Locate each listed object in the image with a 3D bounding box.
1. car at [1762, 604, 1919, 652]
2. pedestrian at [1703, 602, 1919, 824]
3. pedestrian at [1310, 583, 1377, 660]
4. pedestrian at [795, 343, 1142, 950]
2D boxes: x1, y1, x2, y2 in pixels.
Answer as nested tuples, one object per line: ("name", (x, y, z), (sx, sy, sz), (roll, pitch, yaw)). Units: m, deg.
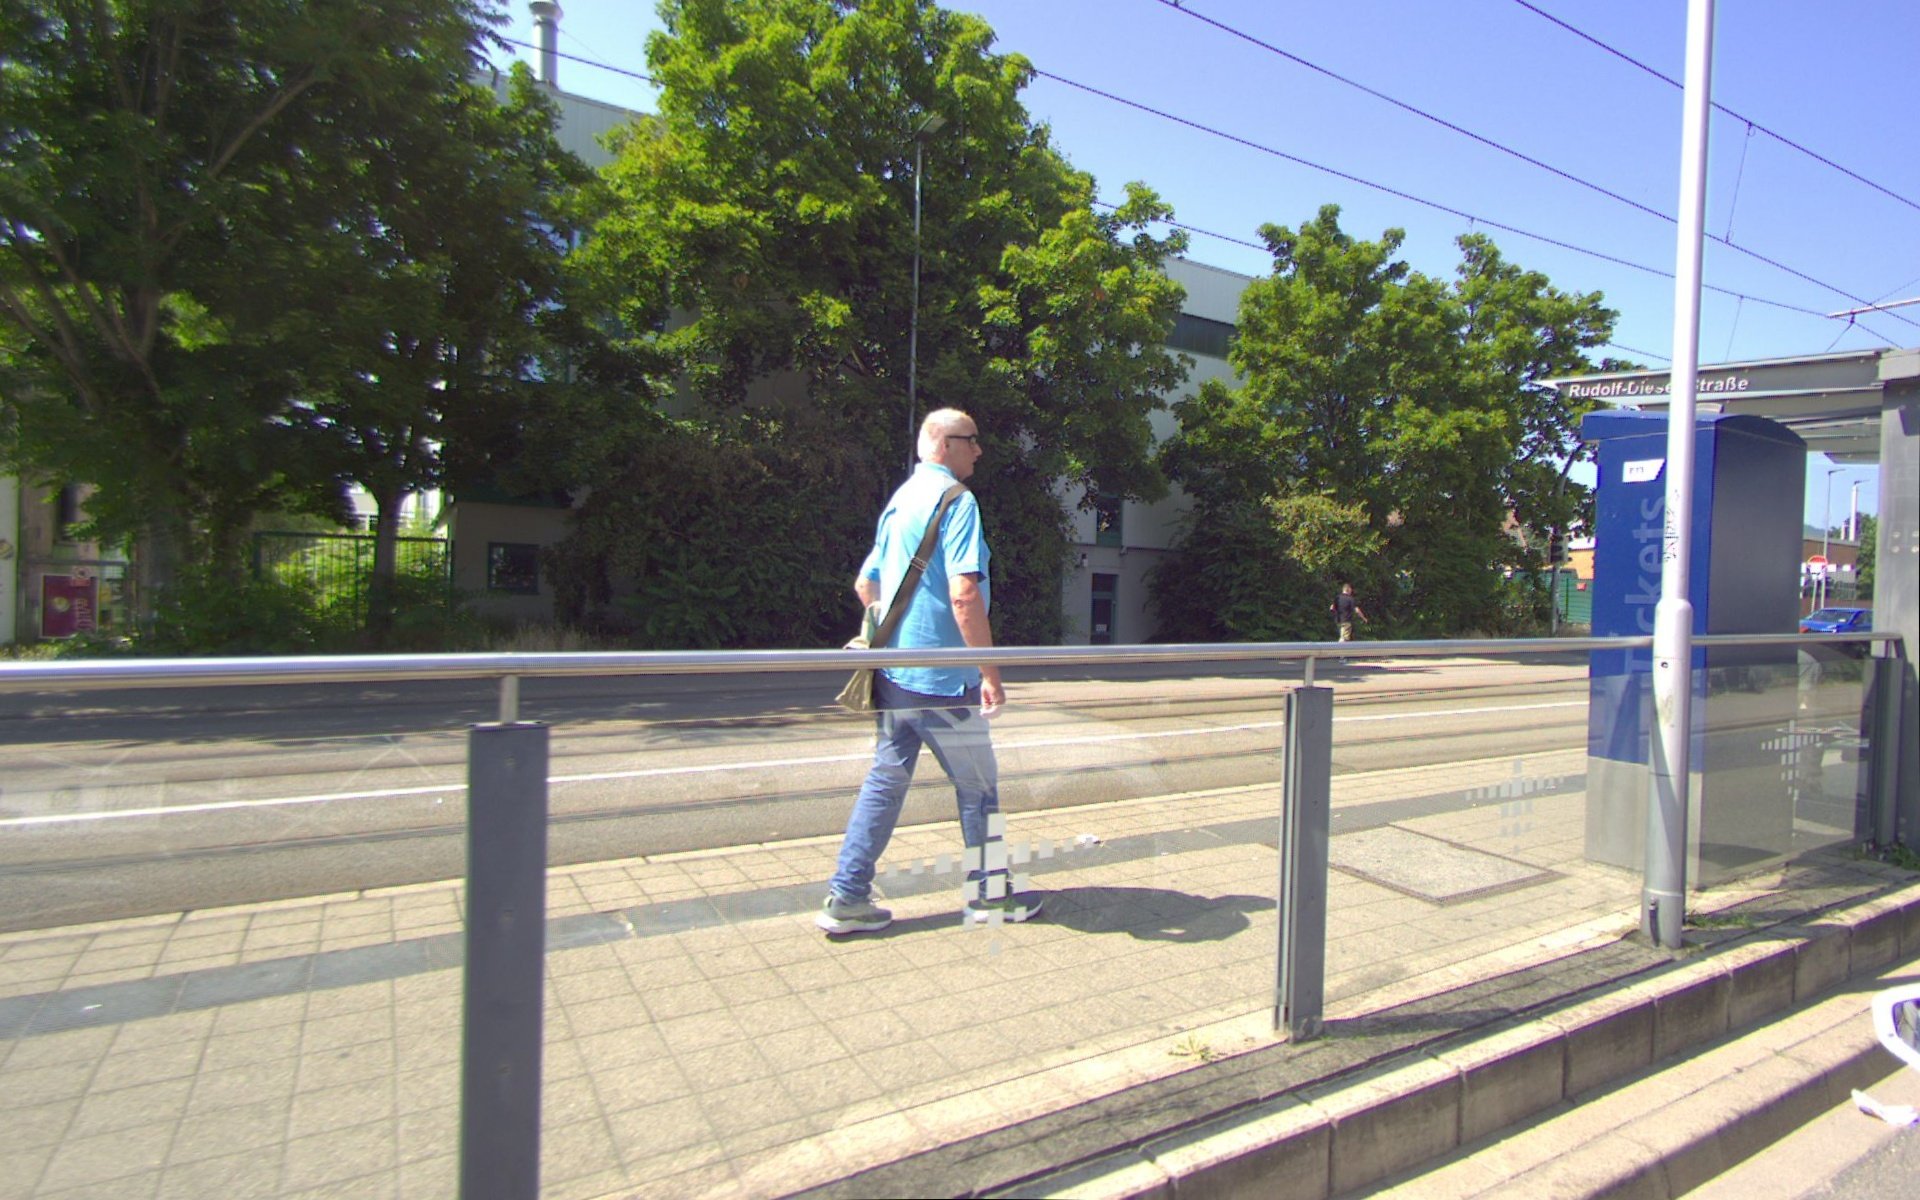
("car", (31.093, 0.974, 35.466), (4.080, 1.557, 1.806), (1, 1, -1))
("pedestrian", (4.985, 0.586, 5.755), (0.718, 1.114, 0.938), (0, 2, -31))
("pedestrian", (8.676, 0.474, 22.736), (1.147, 1.692, 0.881), (1, 0, -31))
("pedestrian", (0.010, 0.131, 3.441), (0.933, 1.748, 0.720), (0, 2, -30))
